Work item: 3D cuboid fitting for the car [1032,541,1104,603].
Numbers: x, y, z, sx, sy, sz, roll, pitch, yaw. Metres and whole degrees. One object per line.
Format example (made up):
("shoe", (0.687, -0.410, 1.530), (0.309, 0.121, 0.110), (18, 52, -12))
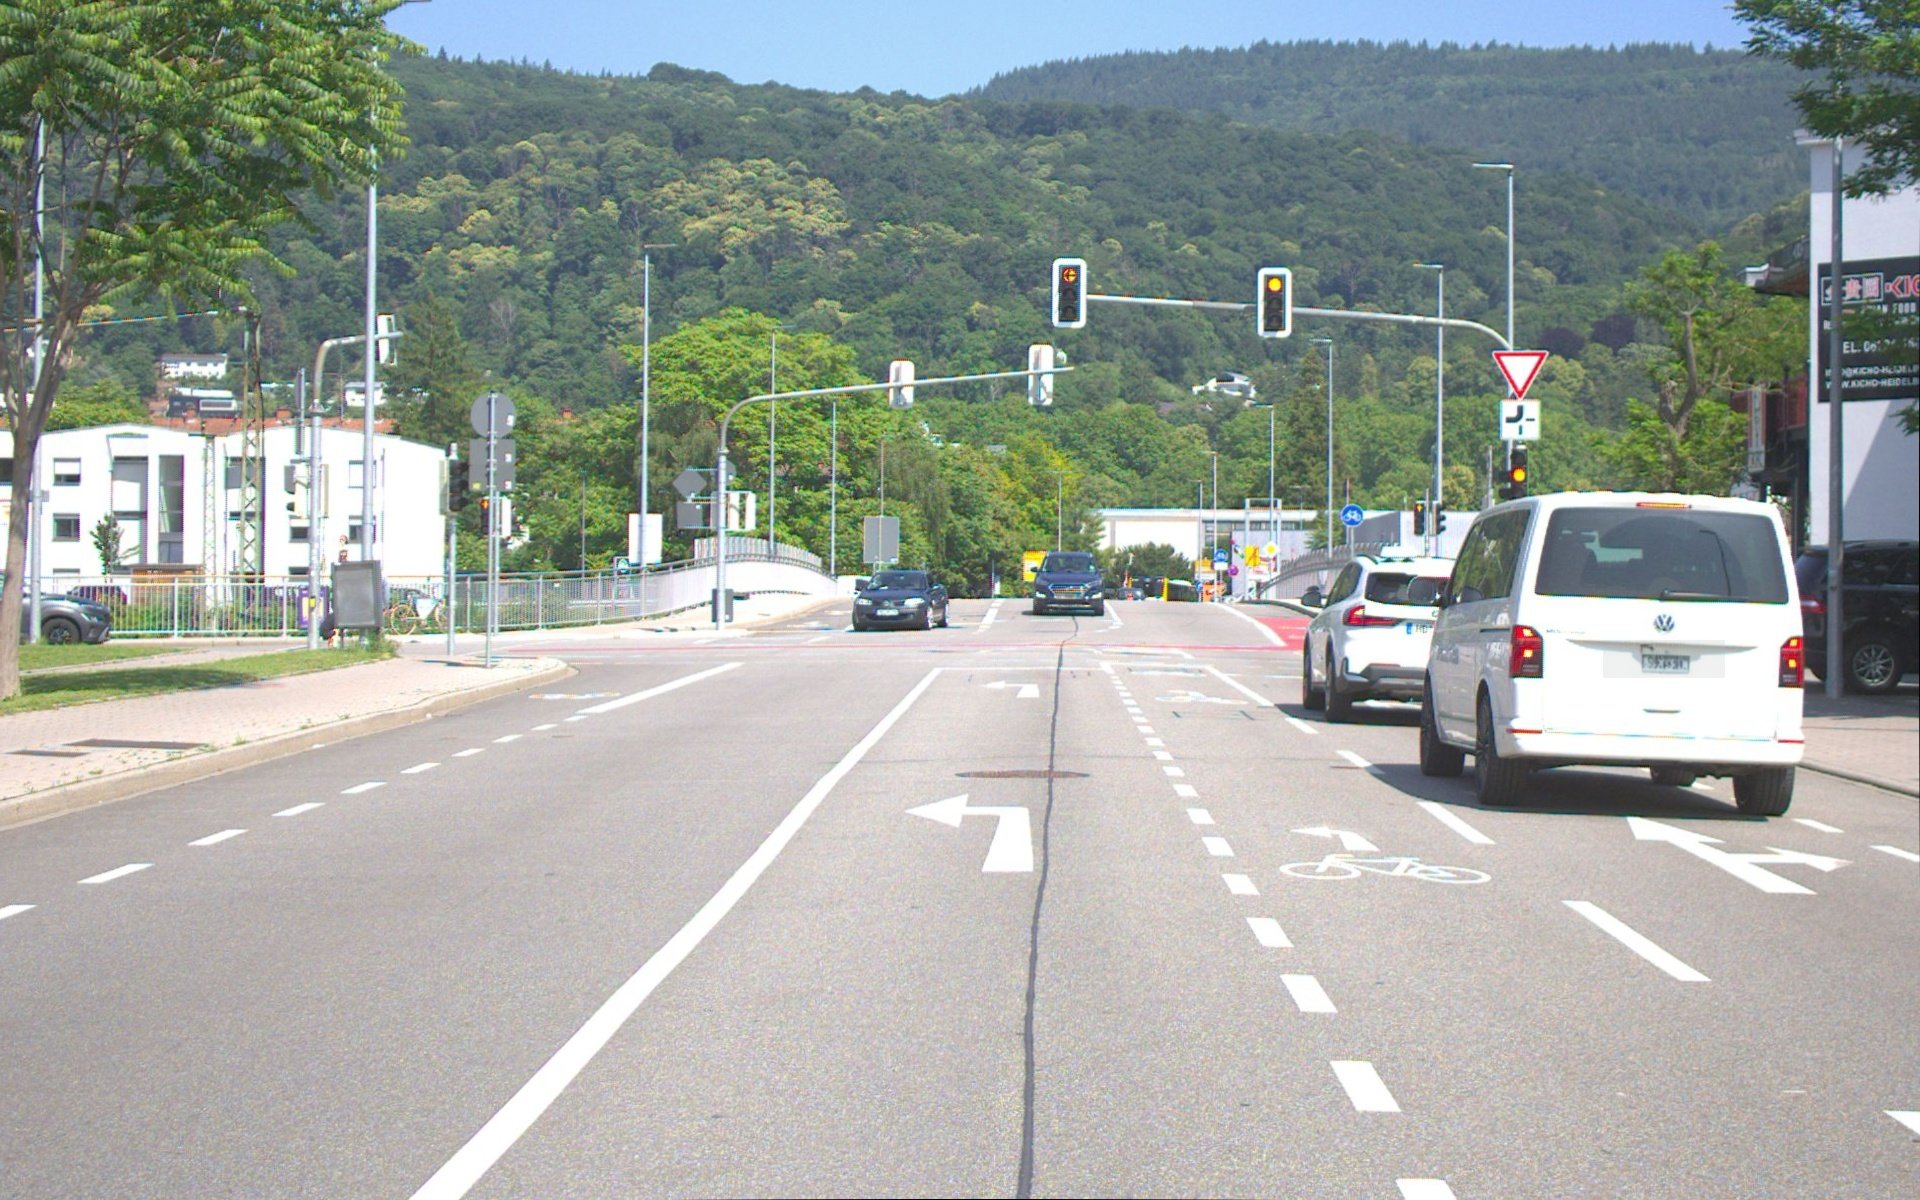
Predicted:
("car", (2.829, -0.761, 90.147), (1.849, 1.583, 4.000), (0, 1, 2))

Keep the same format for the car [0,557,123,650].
("car", (-16.925, 0.052, 60.304), (4.314, 1.587, 2.001), (0, 1, -12))

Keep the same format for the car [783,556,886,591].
("car", (-5.787, -1.215, 158.521), (4.454, 1.583, 1.852), (0, 1, 30))

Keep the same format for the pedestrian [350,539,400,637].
("pedestrian", (-9.427, -0.204, 55.414), (0.698, 1.568, 0.676), (0, 1, 0))

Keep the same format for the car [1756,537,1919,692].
("car", (11.492, 0.154, 40.385), (3.988, 1.769, 1.999), (0, 1, 8))

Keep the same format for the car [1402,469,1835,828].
("car", (4.190, 0.241, 22.627), (1.934, 2.052, 4.544), (2, 1, 0))

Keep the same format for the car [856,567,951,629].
("car", (-1.283, -0.058, 79.954), (1.993, 1.365, 4.326), (0, 1, 2))

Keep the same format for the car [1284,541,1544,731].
("car", (4.442, 0.302, 34.272), (1.934, 1.681, 4.544), (2, 1, 0))
